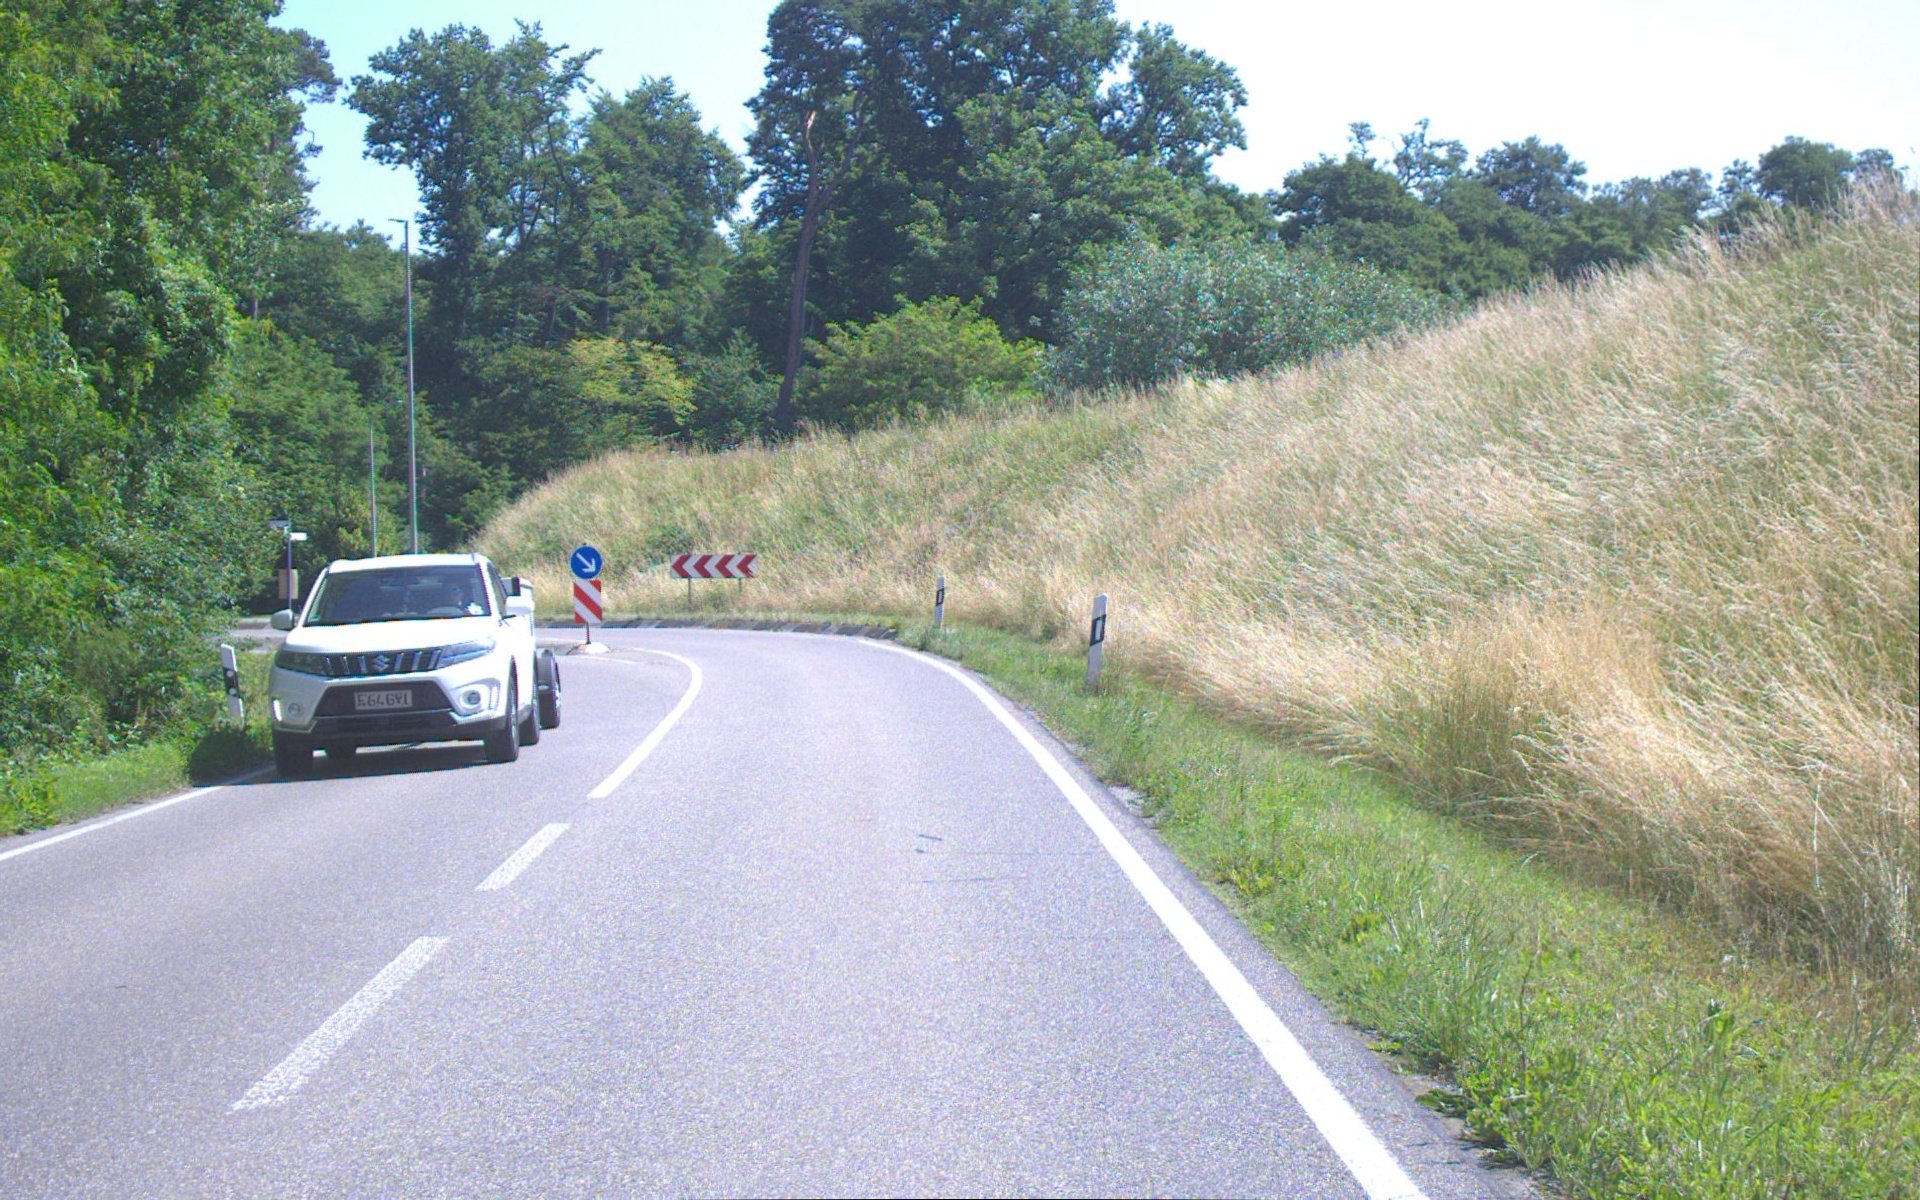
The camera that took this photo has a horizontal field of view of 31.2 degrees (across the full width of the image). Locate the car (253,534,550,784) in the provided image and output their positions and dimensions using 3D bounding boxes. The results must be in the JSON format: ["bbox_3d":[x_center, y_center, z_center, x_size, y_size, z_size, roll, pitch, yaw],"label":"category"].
[{"bbox_3d":[-4.244,0.386,26.659,1.809,1.671,4.001,-4,1,-4],"label":"car"}]

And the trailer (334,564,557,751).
[{"bbox_3d":[-4.482,0.458,30.306,1.559,1.436,3.269,-4,1,-3],"label":"trailer"}]
